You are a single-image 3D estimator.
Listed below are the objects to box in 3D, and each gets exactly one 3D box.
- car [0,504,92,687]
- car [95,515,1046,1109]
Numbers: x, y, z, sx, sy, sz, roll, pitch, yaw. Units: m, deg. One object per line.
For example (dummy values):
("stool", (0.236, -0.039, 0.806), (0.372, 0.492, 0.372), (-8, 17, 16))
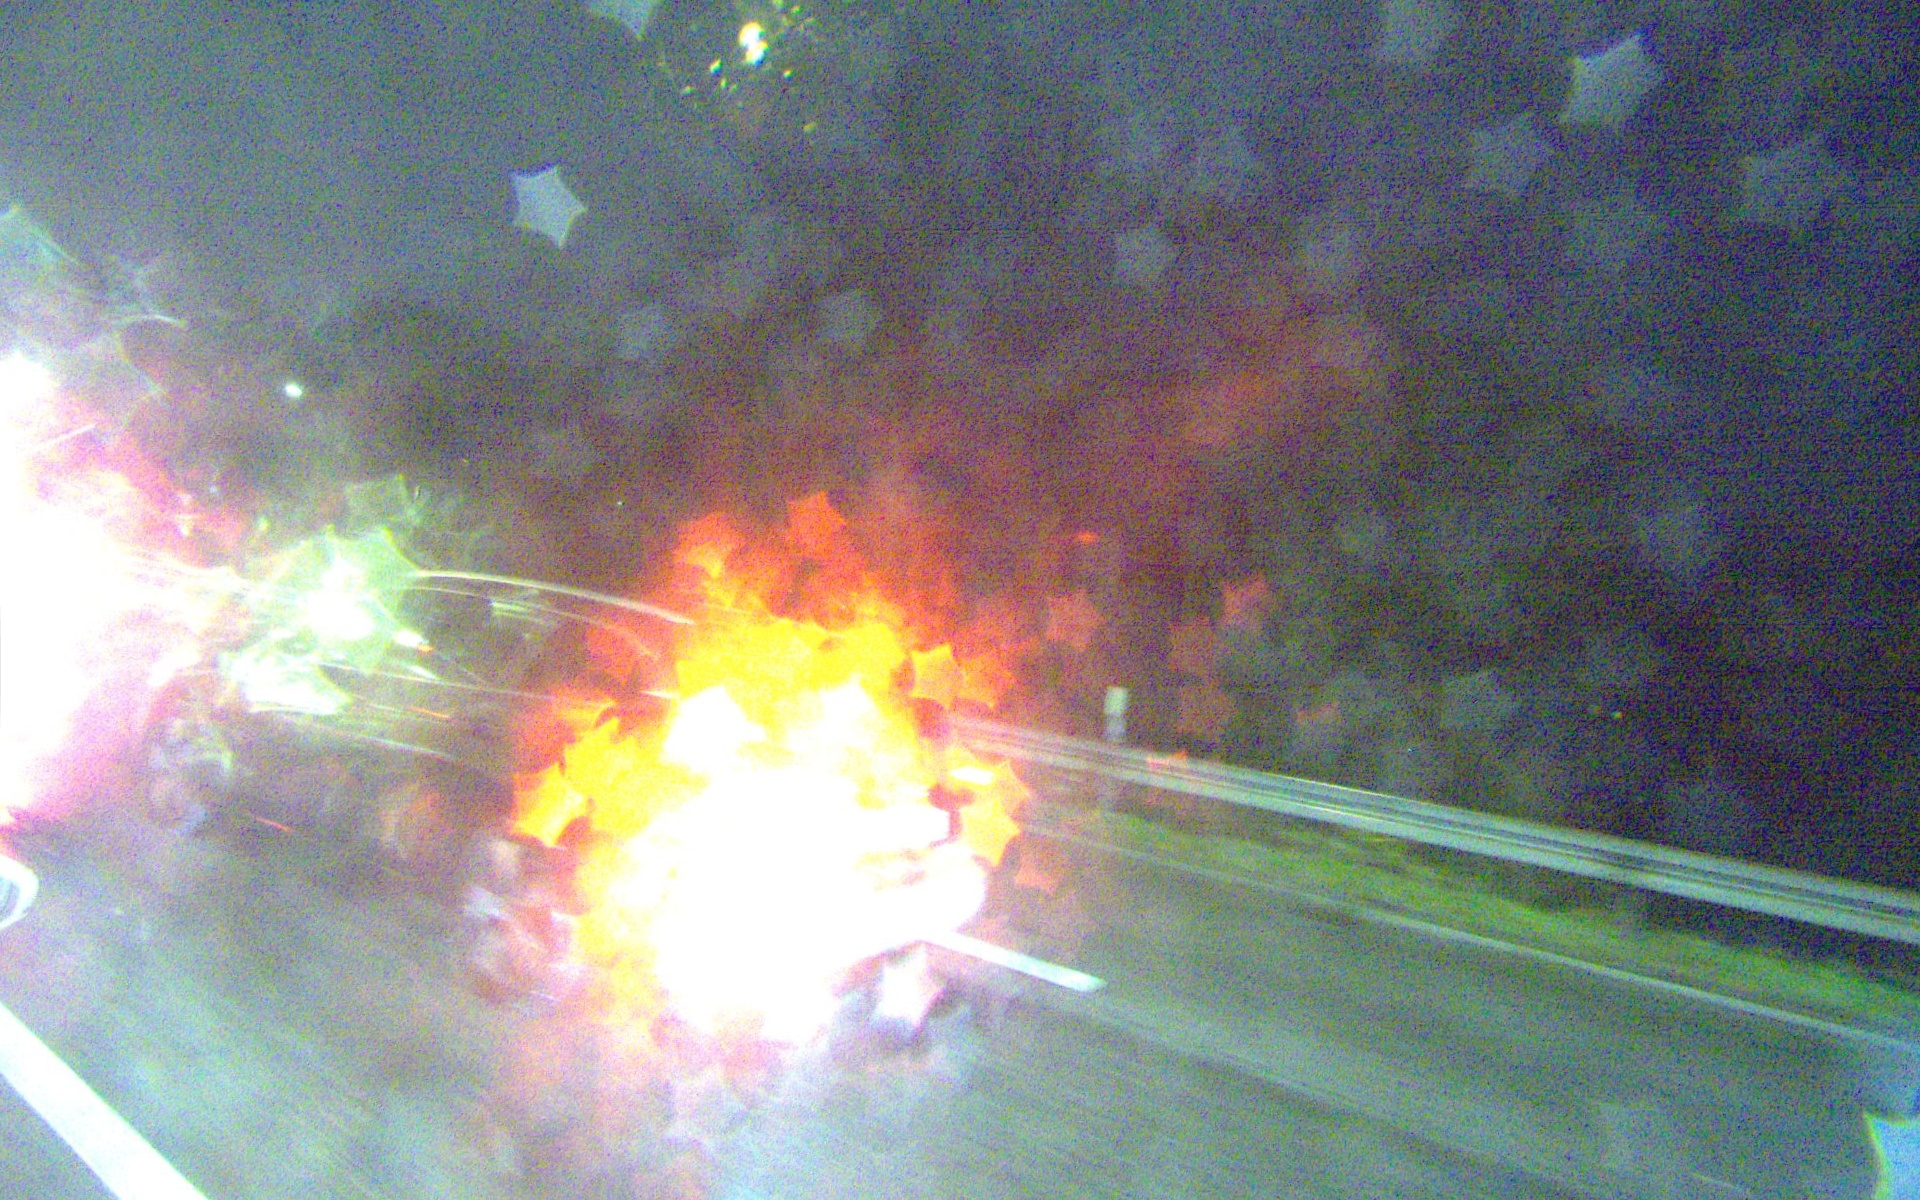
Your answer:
("car", (-10.002, -0.236, 9.290), (3.893, 1.539, 1.681), (6, -2, 29))
("car", (-2.045, 0.596, 4.742), (4.485, 1.522, 1.677), (5, -4, 32))
